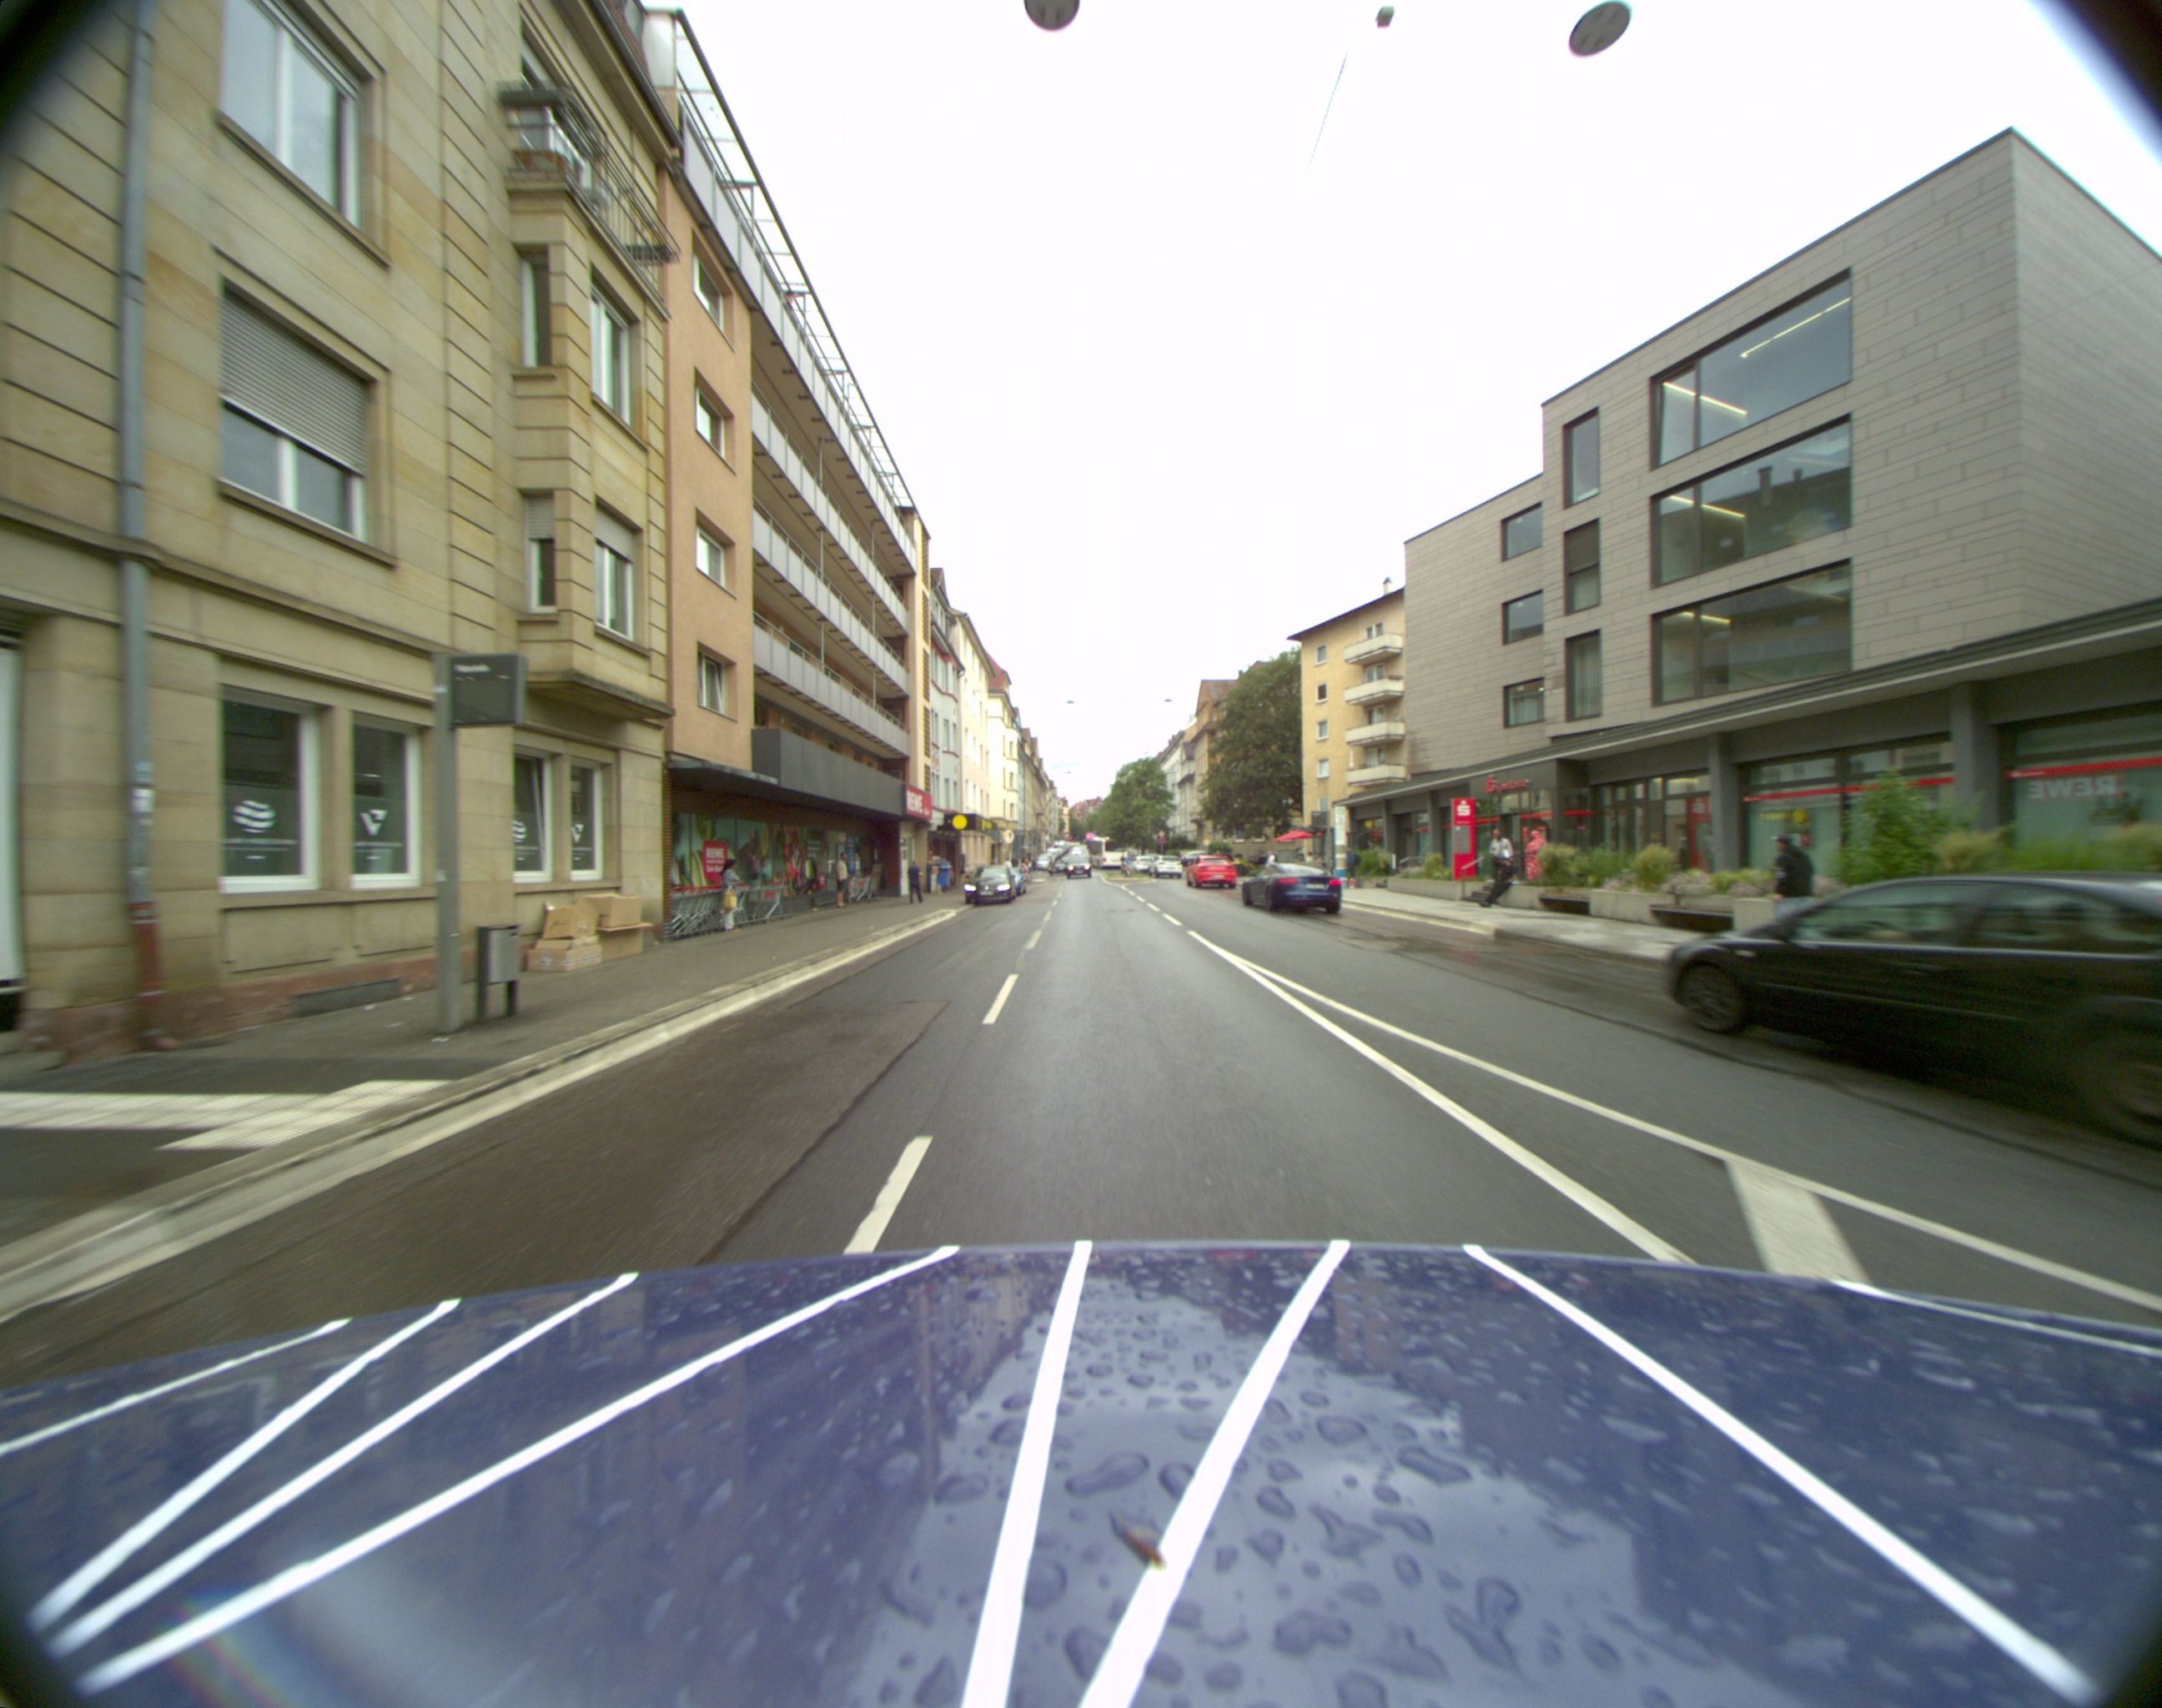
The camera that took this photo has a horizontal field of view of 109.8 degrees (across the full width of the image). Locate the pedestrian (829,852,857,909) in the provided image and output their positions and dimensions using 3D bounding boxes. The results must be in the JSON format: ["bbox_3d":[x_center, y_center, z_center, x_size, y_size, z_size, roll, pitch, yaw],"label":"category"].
[{"bbox_3d":[-7.880,0.854,25.141,0.597,1.848,0.727,-1,1,3],"label":"pedestrian"}]

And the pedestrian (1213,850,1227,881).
[{"bbox_3d":[9.286,0.755,50.634,0.703,2.002,0.782,-2,1,-4],"label":"pedestrian"}]

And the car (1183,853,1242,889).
[{"bbox_3d":[6.684,0.814,39.093,2.111,1.754,5.059,0,0,0],"label":"car"}]

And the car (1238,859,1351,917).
[{"bbox_3d":[6.175,0.924,22.642,1.960,1.503,4.912,0,0,0],"label":"car"}]

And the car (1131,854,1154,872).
[{"bbox_3d":[5.177,0.756,64.559,1.619,1.455,3.805,2,1,0],"label":"car"}]

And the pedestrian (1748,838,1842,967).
[{"bbox_3d":[10.567,0.694,11.265,0.724,1.815,0.721,-2,0,-19],"label":"pedestrian"}]

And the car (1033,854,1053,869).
[{"bbox_3d":[-3.939,0.758,79.003,1.856,1.456,4.203,-2,1,-2],"label":"car"}]

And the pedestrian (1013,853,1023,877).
[{"bbox_3d":[-4.613,0.810,55.566,0.611,1.738,0.698,1,1,0],"label":"pedestrian"}]

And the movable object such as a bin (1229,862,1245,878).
[{"bbox_3d":[11.017,1.118,53.659,0.743,1.052,0.811,-2,1,-25],"label":"movable object such as a bin"}]

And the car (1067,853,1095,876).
[{"bbox_3d":[-0.037,0.802,57.084,1.856,1.646,4.203,-1,0,-4],"label":"car"}]

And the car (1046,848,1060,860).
[{"bbox_3d":[-3.816,0.029,104.307,1.733,1.486,3.550,-2,1,-2],"label":"car"}]

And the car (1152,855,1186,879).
[{"bbox_3d":[6.333,0.924,55.082,1.900,1.564,4.124,1,1,0],"label":"car"}]

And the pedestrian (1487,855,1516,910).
[{"bbox_3d":[11.316,0.755,20.425,0.590,1.412,0.726,-1,1,35],"label":"pedestrian"}]

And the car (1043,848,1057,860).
[{"bbox_3d":[-3.954,-0.049,97.951,1.733,1.486,3.550,-2,1,-2],"label":"car"}]

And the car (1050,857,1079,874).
[{"bbox_3d":[-1.402,0.996,66.035,1.809,1.411,4.003,-2,0,9],"label":"car"}]

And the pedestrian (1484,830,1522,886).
[{"bbox_3d":[12.761,0.122,22.989,0.715,1.669,0.713,-1,1,-1],"label":"pedestrian"}]

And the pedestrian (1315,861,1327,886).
[{"bbox_3d":[10.794,0.886,34.192,0.393,1.110,0.386,-1,1,0],"label":"pedestrian"}]

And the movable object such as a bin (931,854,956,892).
[{"bbox_3d":[-6.660,0.911,36.848,1.002,1.783,1.296,-1,1,-2],"label":"movable object such as a bin"}]

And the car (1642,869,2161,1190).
[{"bbox_3d":[6.371,0.922,5.108,1.960,1.548,4.242,0,0,-2],"label":"car"}]

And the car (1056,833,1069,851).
[{"bbox_3d":[-3.759,-2.434,157.272,2.554,3.613,9.048,-2,1,-1],"label":"car"}]

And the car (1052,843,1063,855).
[{"bbox_3d":[-3.717,-0.797,121.318,1.719,1.871,3.907,-2,1,-1],"label":"car"}]

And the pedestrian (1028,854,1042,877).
[{"bbox_3d":[-3.390,0.857,56.124,0.791,1.656,0.699,1,1,15],"label":"pedestrian"}]

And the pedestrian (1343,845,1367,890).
[{"bbox_3d":[11.339,0.558,31.463,0.591,1.809,0.870,-1,1,-9],"label":"pedestrian"}]

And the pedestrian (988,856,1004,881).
[{"bbox_3d":[-5.704,0.958,50.976,0.701,1.637,0.784,2,1,34],"label":"pedestrian"}]

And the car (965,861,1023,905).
[{"bbox_3d":[-3.343,1.069,29.860,1.734,1.538,3.981,-2,0,0],"label":"car"}]

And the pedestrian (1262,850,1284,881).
[{"bbox_3d":[10.816,0.642,42.799,0.793,1.699,0.761,-4,1,-25],"label":"pedestrian"}]

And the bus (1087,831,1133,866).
[{"bbox_3d":[2.897,-0.678,79.734,2.814,3.228,11.951,3,1,-7],"label":"bus"}]

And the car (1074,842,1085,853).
[{"bbox_3d":[-0.260,-1.138,131.030,1.796,1.768,3.902,-2,1,-1],"label":"car"}]

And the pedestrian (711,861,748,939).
[{"bbox_3d":[-7.294,0.944,15.781,0.563,1.563,0.626,-2,1,-16],"label":"pedestrian"}]

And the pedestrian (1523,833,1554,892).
[{"bbox_3d":[13.141,0.237,21.840,0.711,1.669,0.801,-1,1,28],"label":"pedestrian"}]

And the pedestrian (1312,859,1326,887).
[{"bbox_3d":[10.826,0.864,34.566,0.469,1.269,0.549,-1,1,0],"label":"pedestrian"}]

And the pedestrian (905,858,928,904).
[{"bbox_3d":[-6.067,0.983,28.071,0.627,1.642,0.748,2,0,0],"label":"pedestrian"}]

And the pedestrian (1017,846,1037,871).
[{"bbox_3d":[-3.826,0.314,53.875,1.061,1.738,0.856,1,1,28],"label":"pedestrian"}]

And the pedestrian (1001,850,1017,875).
[{"bbox_3d":[-4.764,0.594,50.547,0.701,1.637,0.784,2,1,34],"label":"pedestrian"}]

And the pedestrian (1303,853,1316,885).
[{"bbox_3d":[10.897,0.707,36.284,0.438,1.540,0.533,-1,1,-1],"label":"pedestrian"}]

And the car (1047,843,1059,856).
[{"bbox_3d":[-4.146,-0.743,114.623,1.733,1.887,3.550,-2,1,-2],"label":"car"}]

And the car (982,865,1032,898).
[{"bbox_3d":[-3.395,1.236,35.510,1.739,1.302,3.767,-3,0,2],"label":"car"}]
